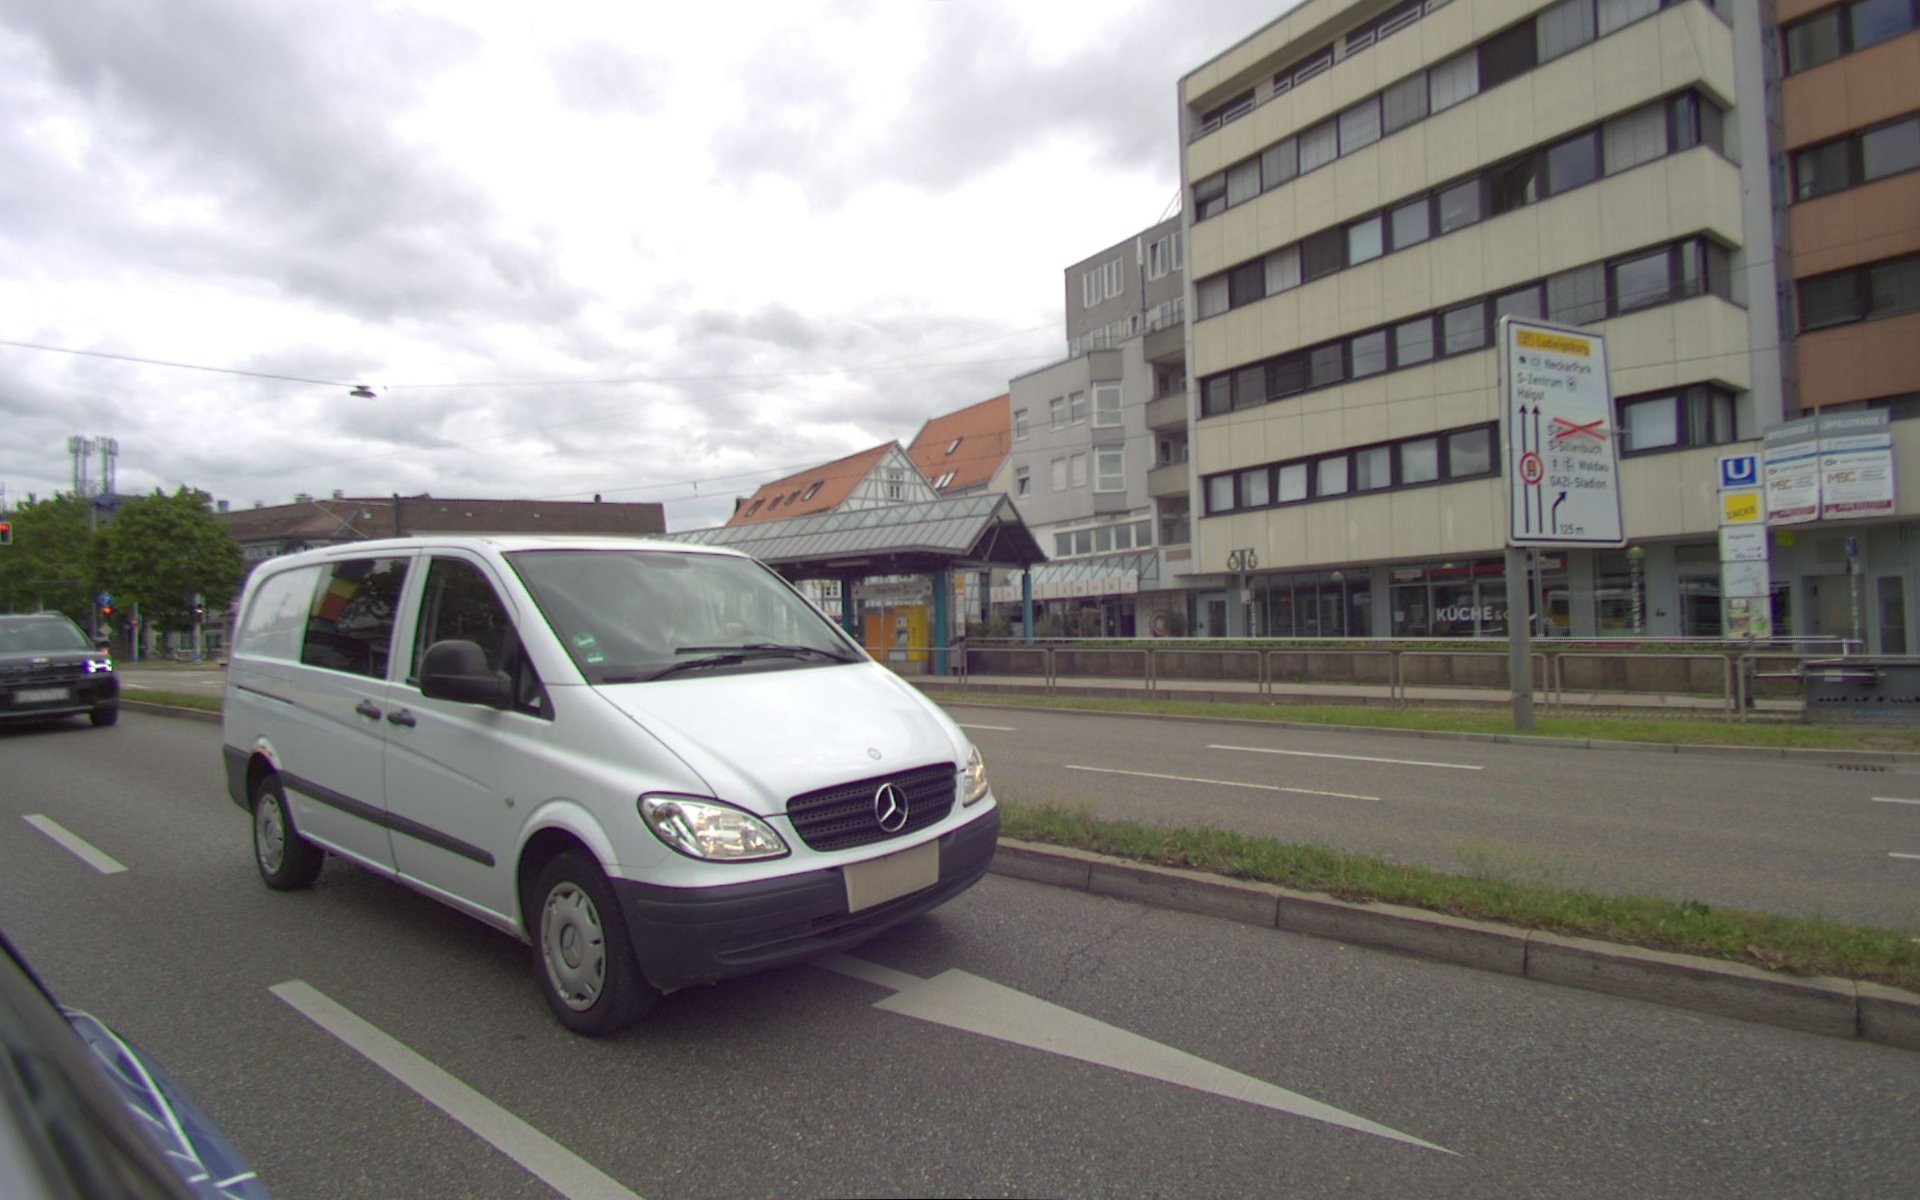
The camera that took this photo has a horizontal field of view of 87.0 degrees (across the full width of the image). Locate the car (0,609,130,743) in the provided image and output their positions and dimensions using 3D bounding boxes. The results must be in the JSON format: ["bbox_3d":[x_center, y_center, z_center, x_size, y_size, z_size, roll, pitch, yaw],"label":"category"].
[{"bbox_3d":[-14.432,1.118,15.341,4.672,1.764,1.904,-3,-1,38],"label":"car"}]

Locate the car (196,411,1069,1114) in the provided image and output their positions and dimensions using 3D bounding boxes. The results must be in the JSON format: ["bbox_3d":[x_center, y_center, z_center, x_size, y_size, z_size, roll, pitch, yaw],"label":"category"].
[{"bbox_3d":[-2.094,0.555,5.263,5.070,2.029,1.855,-3,-2,39],"label":"car"}]
